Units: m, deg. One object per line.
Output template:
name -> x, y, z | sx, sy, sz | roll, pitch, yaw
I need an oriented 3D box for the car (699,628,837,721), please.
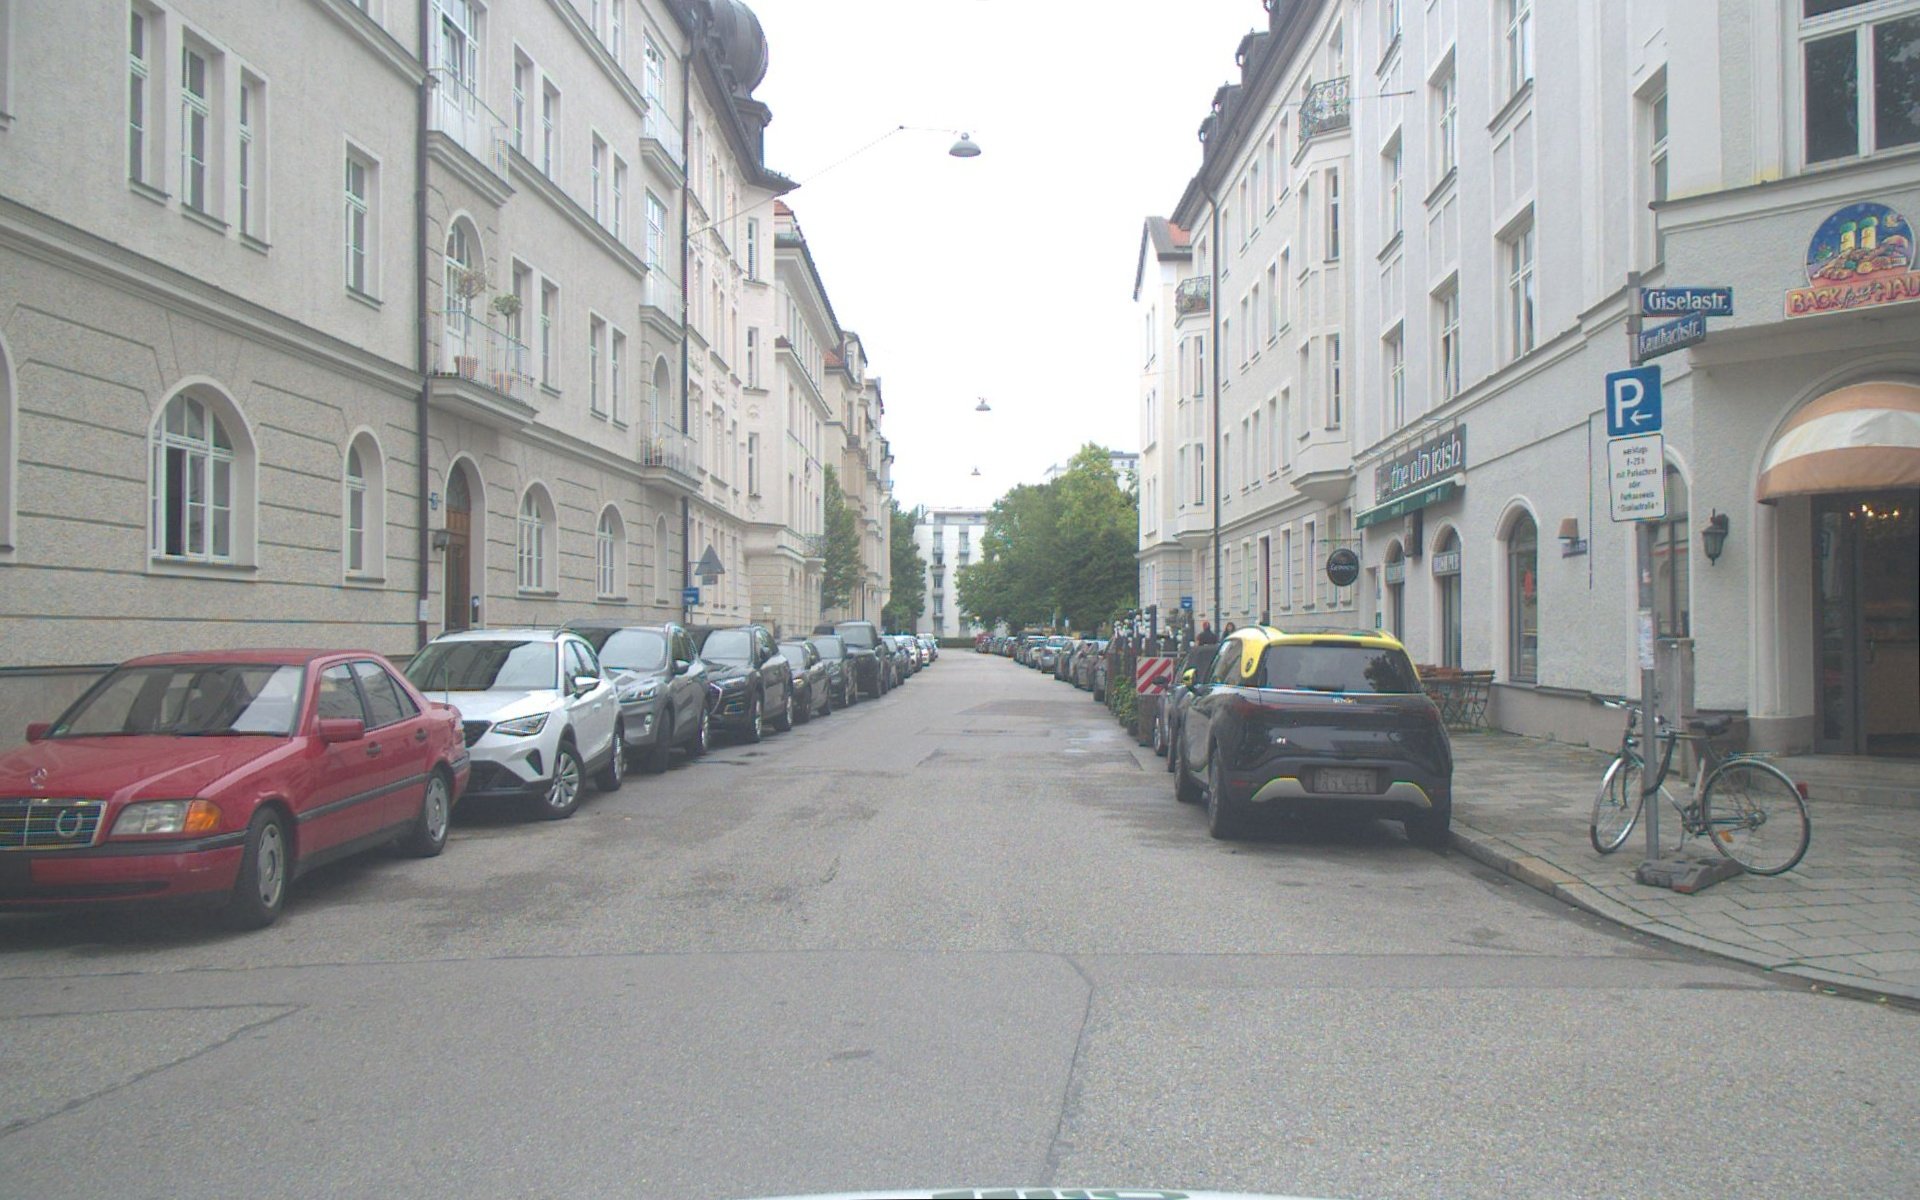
car -> -3.460, 1.319, 30.523 | 1.885, 1.573, 4.001 | 0, -1, 3

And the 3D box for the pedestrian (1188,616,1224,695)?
pedestrian -> 5.922, 1.319, 39.833 | 0.762, 1.883, 1.023 | 0, -1, 2

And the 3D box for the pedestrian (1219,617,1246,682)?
pedestrian -> 8.045, 1.457, 48.847 | 0.761, 1.883, 0.860 | 0, -1, 9

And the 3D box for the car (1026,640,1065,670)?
car -> 4.263, 2.724, 83.026 | 1.694, 1.442, 3.851 | 0, -1, -1

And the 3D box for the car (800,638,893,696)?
car -> -2.779, 1.625, 41.167 | 1.867, 1.352, 4.001 | 0, -1, 2

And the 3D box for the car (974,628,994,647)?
car -> 2.562, 4.101, 179.334 | 1.953, 2.017, 4.891 | 0, -1, -2

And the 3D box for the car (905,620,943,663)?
car -> -1.737, 2.037, 80.948 | 1.808, 2.049, 3.999 | 0, -1, 0

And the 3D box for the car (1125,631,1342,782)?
car -> 3.117, 1.167, 19.784 | 1.935, 1.524, 4.638 | 2, -1, 2

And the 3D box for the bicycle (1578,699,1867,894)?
bicycle -> 4.760, 1.190, 10.462 | 0.531, 1.016, 1.744 | -3, 0, -21

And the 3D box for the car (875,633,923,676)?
car -> -2.355, 2.112, 64.633 | 1.783, 1.601, 3.999 | 0, -1, -1

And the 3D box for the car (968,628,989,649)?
car -> 1.852, 3.902, 167.417 | 1.953, 2.017, 4.891 | 0, -1, -2

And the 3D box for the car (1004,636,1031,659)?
car -> 4.434, 3.670, 128.016 | 1.910, 1.681, 3.999 | -1, -1, -1

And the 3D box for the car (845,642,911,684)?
car -> -2.598, 2.004, 53.055 | 1.867, 1.244, 4.000 | 0, -1, 1

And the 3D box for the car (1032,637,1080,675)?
car -> 4.163, 2.433, 72.301 | 1.867, 1.604, 3.999 | 0, -1, -1

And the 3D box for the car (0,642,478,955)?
car -> -4.303, 0.965, 9.716 | 1.695, 1.402, 4.226 | 0, -1, 0

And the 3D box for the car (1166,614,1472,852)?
car -> 2.889, 1.007, 14.215 | 1.782, 1.665, 4.289 | 2, -1, 2

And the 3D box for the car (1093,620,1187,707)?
car -> 4.063, 1.413, 37.961 | 1.782, 1.819, 4.184 | 2, -1, 2

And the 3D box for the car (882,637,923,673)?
car -> -2.416, 2.335, 70.590 | 1.698, 1.444, 3.999 | 0, -1, -1

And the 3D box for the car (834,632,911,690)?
car -> -2.356, 1.637, 45.282 | 1.698, 1.490, 4.001 | 0, -1, 3

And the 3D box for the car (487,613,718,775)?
car -> -4.083, 1.031, 19.558 | 1.953, 1.705, 4.010 | 0, -1, -2

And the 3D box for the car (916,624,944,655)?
car -> -1.982, 2.598, 109.579 | 1.808, 2.049, 3.999 | 0, -1, 0

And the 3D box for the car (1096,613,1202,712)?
car -> 3.816, 1.228, 34.017 | 1.952, 1.889, 4.346 | 0, -1, 4

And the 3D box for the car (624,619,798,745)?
car -> -3.584, 1.145, 24.545 | 1.953, 1.705, 4.288 | 0, -1, 0

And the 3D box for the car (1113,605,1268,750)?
car -> 3.324, 1.085, 24.573 | 1.782, 1.904, 4.289 | 2, -1, 2

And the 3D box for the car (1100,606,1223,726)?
car -> 3.550, 1.144, 29.841 | 1.782, 1.957, 4.184 | 2, -1, 2

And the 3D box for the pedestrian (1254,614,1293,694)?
pedestrian -> 7.441, 1.270, 39.295 | 0.762, 1.883, 1.023 | 0, -1, 2

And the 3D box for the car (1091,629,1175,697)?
car -> 4.530, 1.633, 43.886 | 1.952, 1.723, 4.172 | 0, -1, 2

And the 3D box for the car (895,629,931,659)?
car -> -2.585, 2.422, 91.834 | 1.953, 1.601, 3.999 | 0, -1, -1

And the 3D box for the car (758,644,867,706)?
car -> -3.179, 1.616, 36.412 | 1.867, 1.244, 4.001 | 0, -1, 2

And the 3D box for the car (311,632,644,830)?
car -> -4.083, 1.035, 14.760 | 1.954, 1.499, 4.215 | 0, -1, -4
